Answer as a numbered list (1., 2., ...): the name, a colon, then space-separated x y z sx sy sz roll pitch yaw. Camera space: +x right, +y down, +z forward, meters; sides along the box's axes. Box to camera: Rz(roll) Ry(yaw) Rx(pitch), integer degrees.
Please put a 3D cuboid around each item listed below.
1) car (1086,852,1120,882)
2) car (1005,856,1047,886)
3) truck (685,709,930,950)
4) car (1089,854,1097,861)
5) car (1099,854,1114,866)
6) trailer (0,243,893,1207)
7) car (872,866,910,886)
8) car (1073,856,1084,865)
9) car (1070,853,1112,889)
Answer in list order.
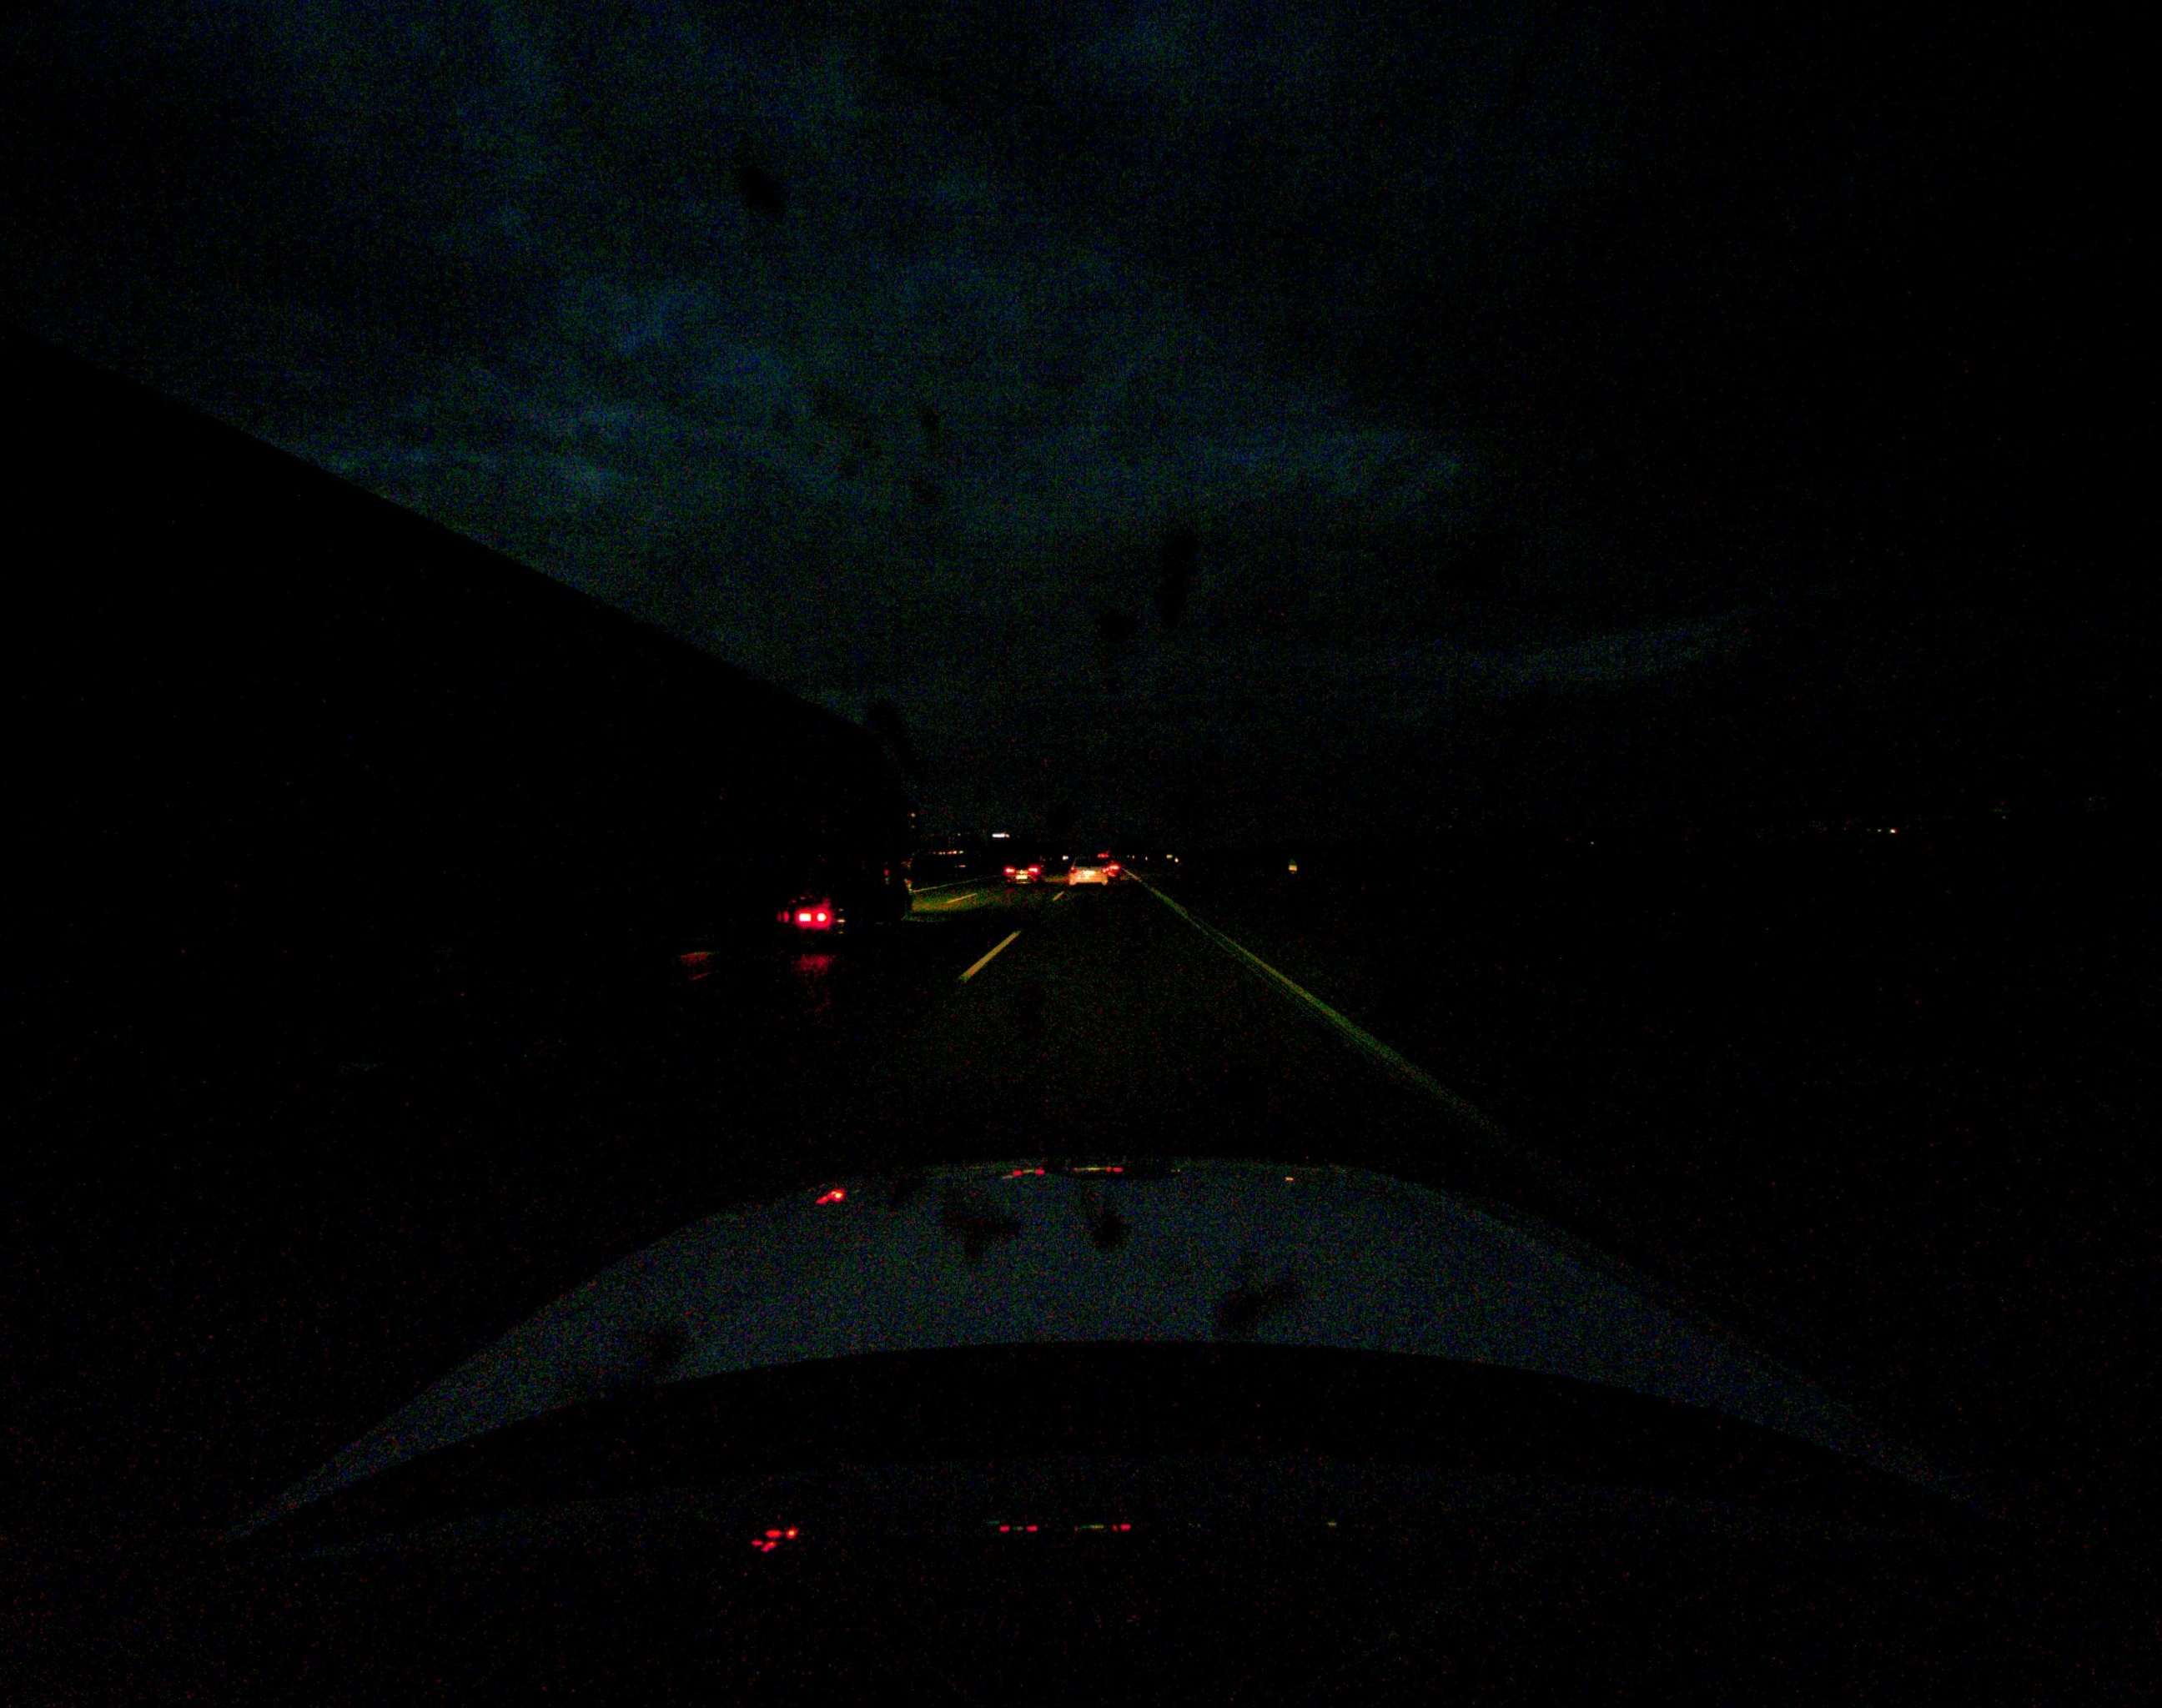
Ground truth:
1. car: 1.247 0.744 46.500 1.873 1.643 4.001 -1 -1 1
2. car: -2.829 0.877 42.690 1.716 1.471 4.727 -1 -1 1
3. truck: -5.313 -0.390 17.140 2.766 4.093 6.106 -2 -1 2
4. car: 3.323 0.947 224.009 2.191 1.879 4.001 -1 -1 1
5. car: 3.186 0.760 102.636 1.873 1.552 4.000 -1 -1 1
6. trailer: -5.671 -0.463 9.628 2.783 4.085 14.534 -2 -1 3
7. car: -13.939 1.577 59.974 1.726 1.369 3.902 -1 -1 2
8. car: -0.419 1.132 145.715 1.873 1.552 4.000 -1 -1 1
9. car: 0.503 0.755 36.860 1.737 1.525 4.416 -1 -1 2
